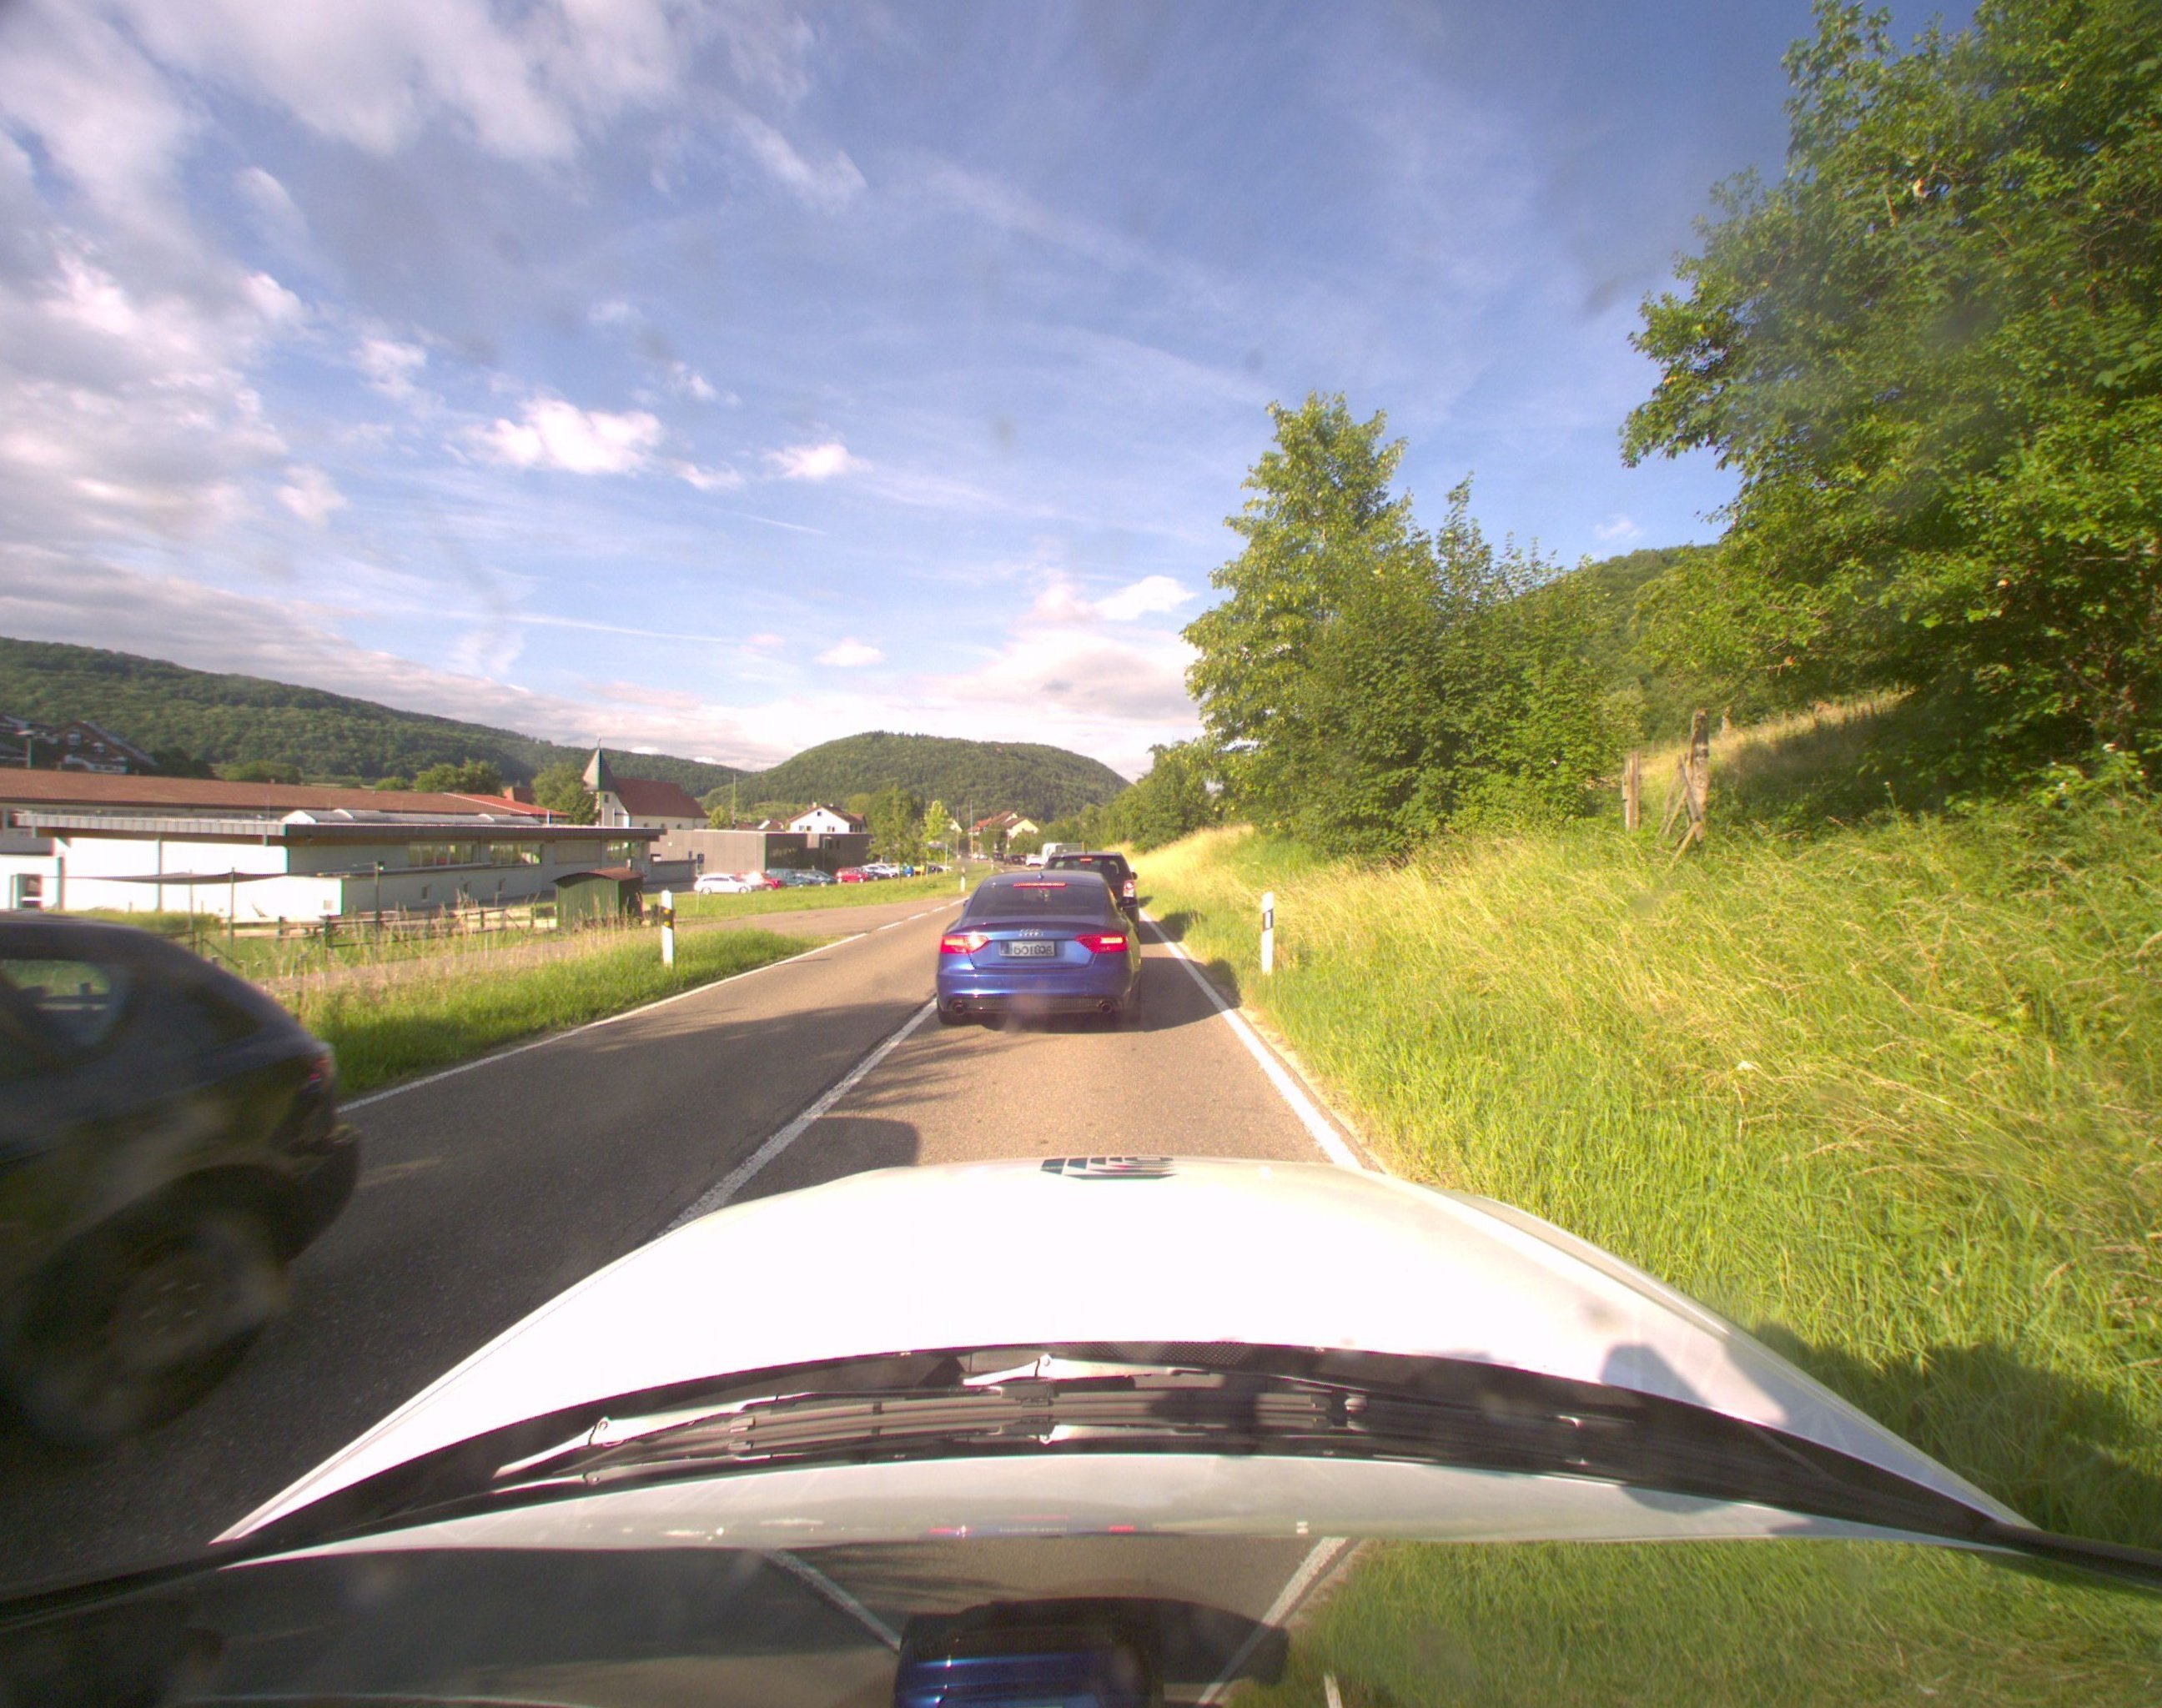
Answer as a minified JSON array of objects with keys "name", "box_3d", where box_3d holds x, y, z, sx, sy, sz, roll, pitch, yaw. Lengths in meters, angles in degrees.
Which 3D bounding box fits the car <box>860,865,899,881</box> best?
[{"name":"car","box_3d":[-23.011,2.165,92.982,3.975,1.711,1.999,0,-1,-1]}]

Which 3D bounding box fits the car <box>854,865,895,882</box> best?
[{"name":"car","box_3d":[-22.652,2.128,89.315,3.975,1.711,1.999,0,-1,-1]}]

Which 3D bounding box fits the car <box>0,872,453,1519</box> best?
[{"name":"car","box_3d":[-3.294,0.772,1.073,1.698,1.430,4.052,0,-1,2]}]

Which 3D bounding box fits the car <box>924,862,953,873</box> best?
[{"name":"car","box_3d":[-20.813,1.944,119.261,3.975,1.579,1.752,0,-1,-1]}]

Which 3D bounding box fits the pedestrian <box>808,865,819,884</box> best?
[{"name":"pedestrian","box_3d":[-29.158,2.232,88.764,0.822,2.014,0.973,0,-1,1]}]

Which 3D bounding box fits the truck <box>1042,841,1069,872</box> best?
[{"name":"truck","box_3d":[-2.265,0.203,71.125,2.224,2.570,6.701,0,-1,-2]}]

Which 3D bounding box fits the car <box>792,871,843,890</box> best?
[{"name":"car","box_3d":[-24.094,2.422,74.492,3.975,1.711,1.999,0,-1,-1]}]

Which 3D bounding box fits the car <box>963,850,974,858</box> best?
[{"name":"car","box_3d":[-25.290,-0.002,182.751,1.850,1.712,3.978,0,-1,-16]}]

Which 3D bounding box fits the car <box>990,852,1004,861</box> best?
[{"name":"car","box_3d":[-15.131,0.462,146.883,1.849,1.712,3.978,0,-1,-16]}]

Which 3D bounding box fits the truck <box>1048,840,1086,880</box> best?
[{"name":"truck","box_3d":[-1.016,0.399,55.804,2.226,2.570,6.093,0,-1,-5]}]

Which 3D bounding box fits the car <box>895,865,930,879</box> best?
[{"name":"car","box_3d":[-21.644,2.261,104.703,3.975,1.711,1.999,0,-1,-1]}]

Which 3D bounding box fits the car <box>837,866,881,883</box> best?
[{"name":"car","box_3d":[-23.097,2.090,84.773,3.975,1.711,1.999,0,-1,-1]}]

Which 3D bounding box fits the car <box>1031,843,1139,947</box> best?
[{"name":"car","box_3d":[0.161,0.688,15.232,1.747,1.681,3.849,0,-1,3]}]

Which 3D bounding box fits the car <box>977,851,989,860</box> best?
[{"name":"car","box_3d":[-19.724,0.321,163.954,1.849,1.712,3.979,0,-1,-15]}]

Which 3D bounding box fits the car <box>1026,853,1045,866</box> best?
[{"name":"car","box_3d":[-5.664,0.688,100.807,1.845,1.482,3.987,0,-1,-9]}]

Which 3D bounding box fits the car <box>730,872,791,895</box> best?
[{"name":"car","box_3d":[-25.209,2.336,64.198,3.975,1.711,1.999,0,-1,-1]}]

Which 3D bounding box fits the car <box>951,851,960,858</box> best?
[{"name":"car","box_3d":[-30.805,0.092,199.924,1.849,1.712,3.978,0,-1,-16]}]

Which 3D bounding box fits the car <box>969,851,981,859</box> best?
[{"name":"car","box_3d":[-22.570,0.201,173.056,1.849,1.712,3.978,0,-1,-16]}]

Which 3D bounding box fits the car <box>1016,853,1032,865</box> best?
[{"name":"car","box_3d":[-8.353,0.779,119.388,1.847,1.712,3.984,0,-1,-11]}]

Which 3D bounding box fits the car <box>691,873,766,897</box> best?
[{"name":"car","box_3d":[-26.433,2.319,61.217,4.716,1.711,1.999,0,-1,-1]}]

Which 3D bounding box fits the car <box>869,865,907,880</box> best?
[{"name":"car","box_3d":[-22.804,2.193,96.263,3.975,1.711,1.999,0,-1,-1]}]

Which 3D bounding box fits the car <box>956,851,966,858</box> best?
[{"name":"car","box_3d":[-28.111,0.130,191.346,1.849,1.712,3.978,0,-1,-16]}]

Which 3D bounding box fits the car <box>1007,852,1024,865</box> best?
[{"name":"car","box_3d":[-9.163,0.656,113.876,1.847,1.712,3.982,0,-1,-13]}]

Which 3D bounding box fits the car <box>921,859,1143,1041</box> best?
[{"name":"car","box_3d":[-0.299,0.774,8.360,1.747,1.430,3.849,0,-1,3]}]

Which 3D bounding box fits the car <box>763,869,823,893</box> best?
[{"name":"car","box_3d":[-24.709,2.317,70.001,4.393,2.008,1.999,0,-1,-1]}]

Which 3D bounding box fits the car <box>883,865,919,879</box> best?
[{"name":"car","box_3d":[-22.559,2.244,102.048,3.975,1.711,1.999,0,-1,-1]}]
